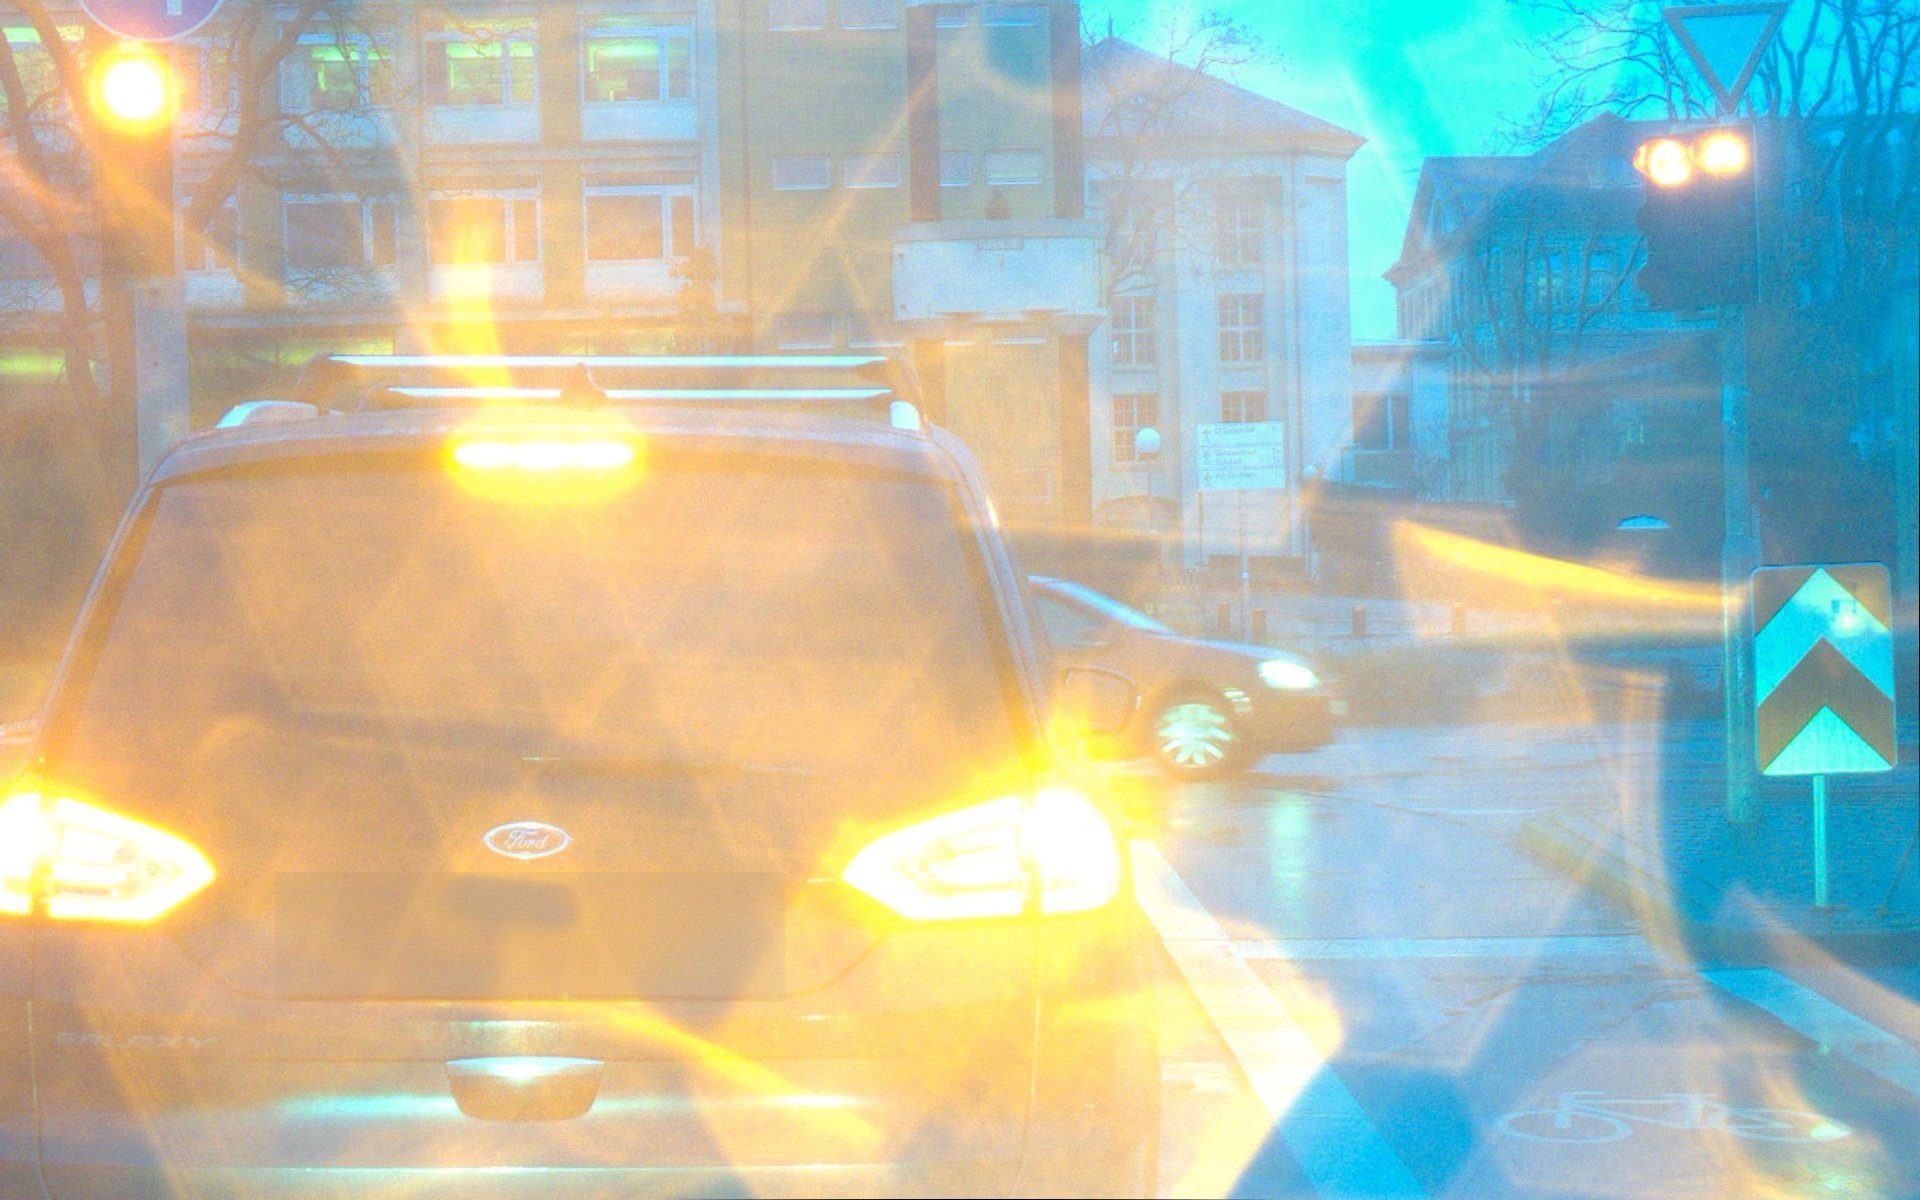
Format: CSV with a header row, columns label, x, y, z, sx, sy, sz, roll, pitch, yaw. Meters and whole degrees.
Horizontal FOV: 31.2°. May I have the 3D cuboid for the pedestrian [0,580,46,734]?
label,x,y,z,sx,sy,sz,roll,pitch,yaw
pedestrian,-12.214,0.724,42.823,1.002,1.836,1.138,-2,3,23

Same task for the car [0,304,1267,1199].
label,x,y,z,sx,sy,sz,roll,pitch,yaw
car,-0.623,0.488,6.567,1.993,1.783,4.000,1,1,-1

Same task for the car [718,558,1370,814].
label,x,y,z,sx,sy,sz,roll,pitch,yaw
car,0.618,0.568,23.344,4.126,1.577,1.840,-2,0,11

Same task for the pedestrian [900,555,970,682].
label,x,y,z,sx,sy,sz,roll,pitch,yaw
pedestrian,-0.326,0.236,44.975,0.760,1.622,0.557,-2,1,13

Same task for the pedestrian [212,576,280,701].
label,x,y,z,sx,sy,sz,roll,pitch,yaw
pedestrian,-9.805,0.527,47.230,0.639,1.682,0.636,-2,1,16
